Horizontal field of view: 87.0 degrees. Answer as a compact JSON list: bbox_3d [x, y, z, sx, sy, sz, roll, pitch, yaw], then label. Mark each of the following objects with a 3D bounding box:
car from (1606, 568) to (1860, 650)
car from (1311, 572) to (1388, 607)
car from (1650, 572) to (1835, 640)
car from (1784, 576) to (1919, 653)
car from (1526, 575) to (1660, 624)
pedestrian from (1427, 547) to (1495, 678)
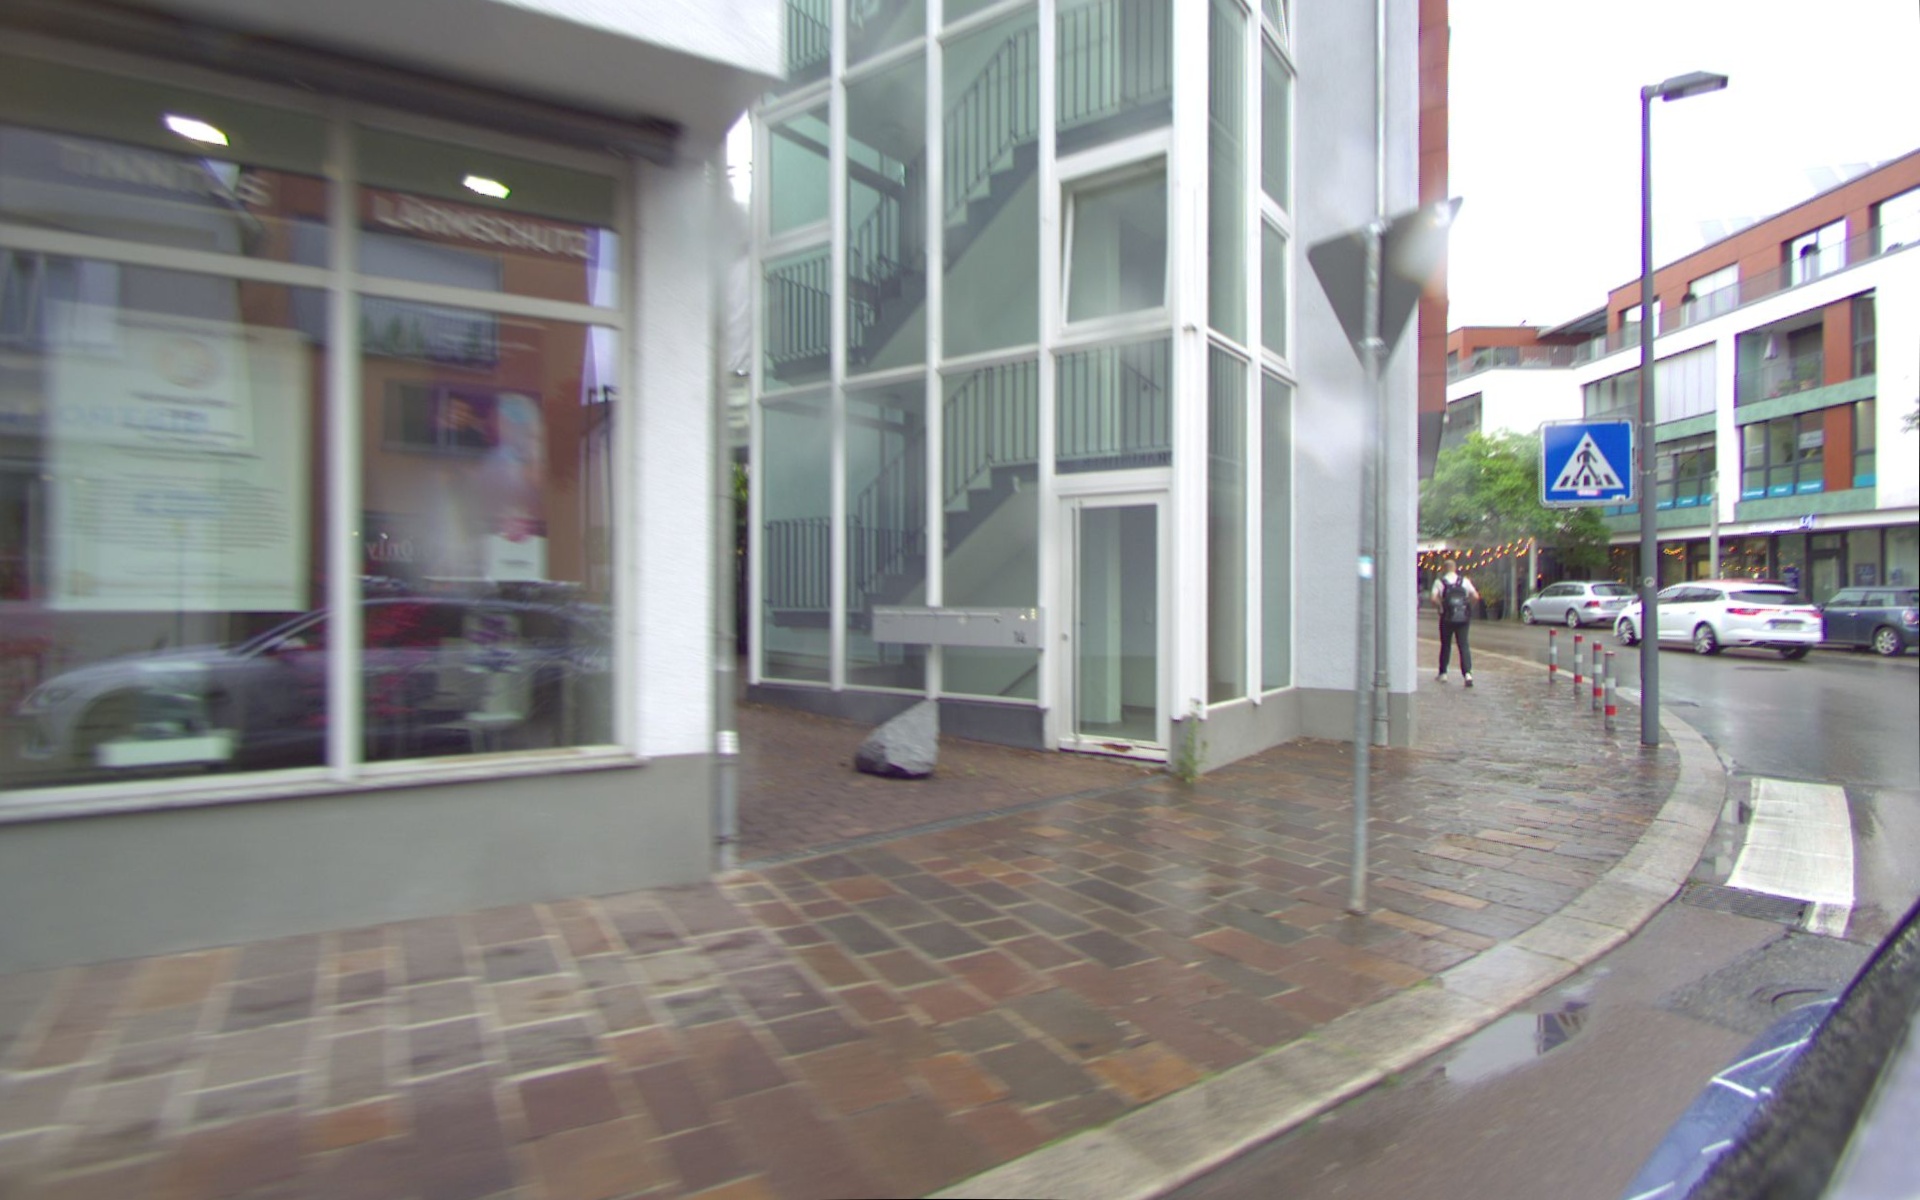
[{"bbox_3d":[15.812,0.118,21.118,1.890,1.510,4.857,0,1,5],"label":"car"},{"bbox_3d":[17.178,-0.449,44.871,1.753,1.484,4.512,0,0,2],"label":"car"},{"bbox_3d":[20.154,0.105,26.296,1.770,1.574,3.921,-2,1,1],"label":"car"},{"bbox_3d":[19.565,0.243,21.345,1.650,1.453,3.581,-2,1,6],"label":"car"},{"bbox_3d":[19.854,-0.052,31.946,1.693,1.411,3.863,-2,1,-1],"label":"car"},{"bbox_3d":[7.332,0.165,14.864,0.813,1.828,1.137,-1,1,25],"label":"pedestrian"}]
